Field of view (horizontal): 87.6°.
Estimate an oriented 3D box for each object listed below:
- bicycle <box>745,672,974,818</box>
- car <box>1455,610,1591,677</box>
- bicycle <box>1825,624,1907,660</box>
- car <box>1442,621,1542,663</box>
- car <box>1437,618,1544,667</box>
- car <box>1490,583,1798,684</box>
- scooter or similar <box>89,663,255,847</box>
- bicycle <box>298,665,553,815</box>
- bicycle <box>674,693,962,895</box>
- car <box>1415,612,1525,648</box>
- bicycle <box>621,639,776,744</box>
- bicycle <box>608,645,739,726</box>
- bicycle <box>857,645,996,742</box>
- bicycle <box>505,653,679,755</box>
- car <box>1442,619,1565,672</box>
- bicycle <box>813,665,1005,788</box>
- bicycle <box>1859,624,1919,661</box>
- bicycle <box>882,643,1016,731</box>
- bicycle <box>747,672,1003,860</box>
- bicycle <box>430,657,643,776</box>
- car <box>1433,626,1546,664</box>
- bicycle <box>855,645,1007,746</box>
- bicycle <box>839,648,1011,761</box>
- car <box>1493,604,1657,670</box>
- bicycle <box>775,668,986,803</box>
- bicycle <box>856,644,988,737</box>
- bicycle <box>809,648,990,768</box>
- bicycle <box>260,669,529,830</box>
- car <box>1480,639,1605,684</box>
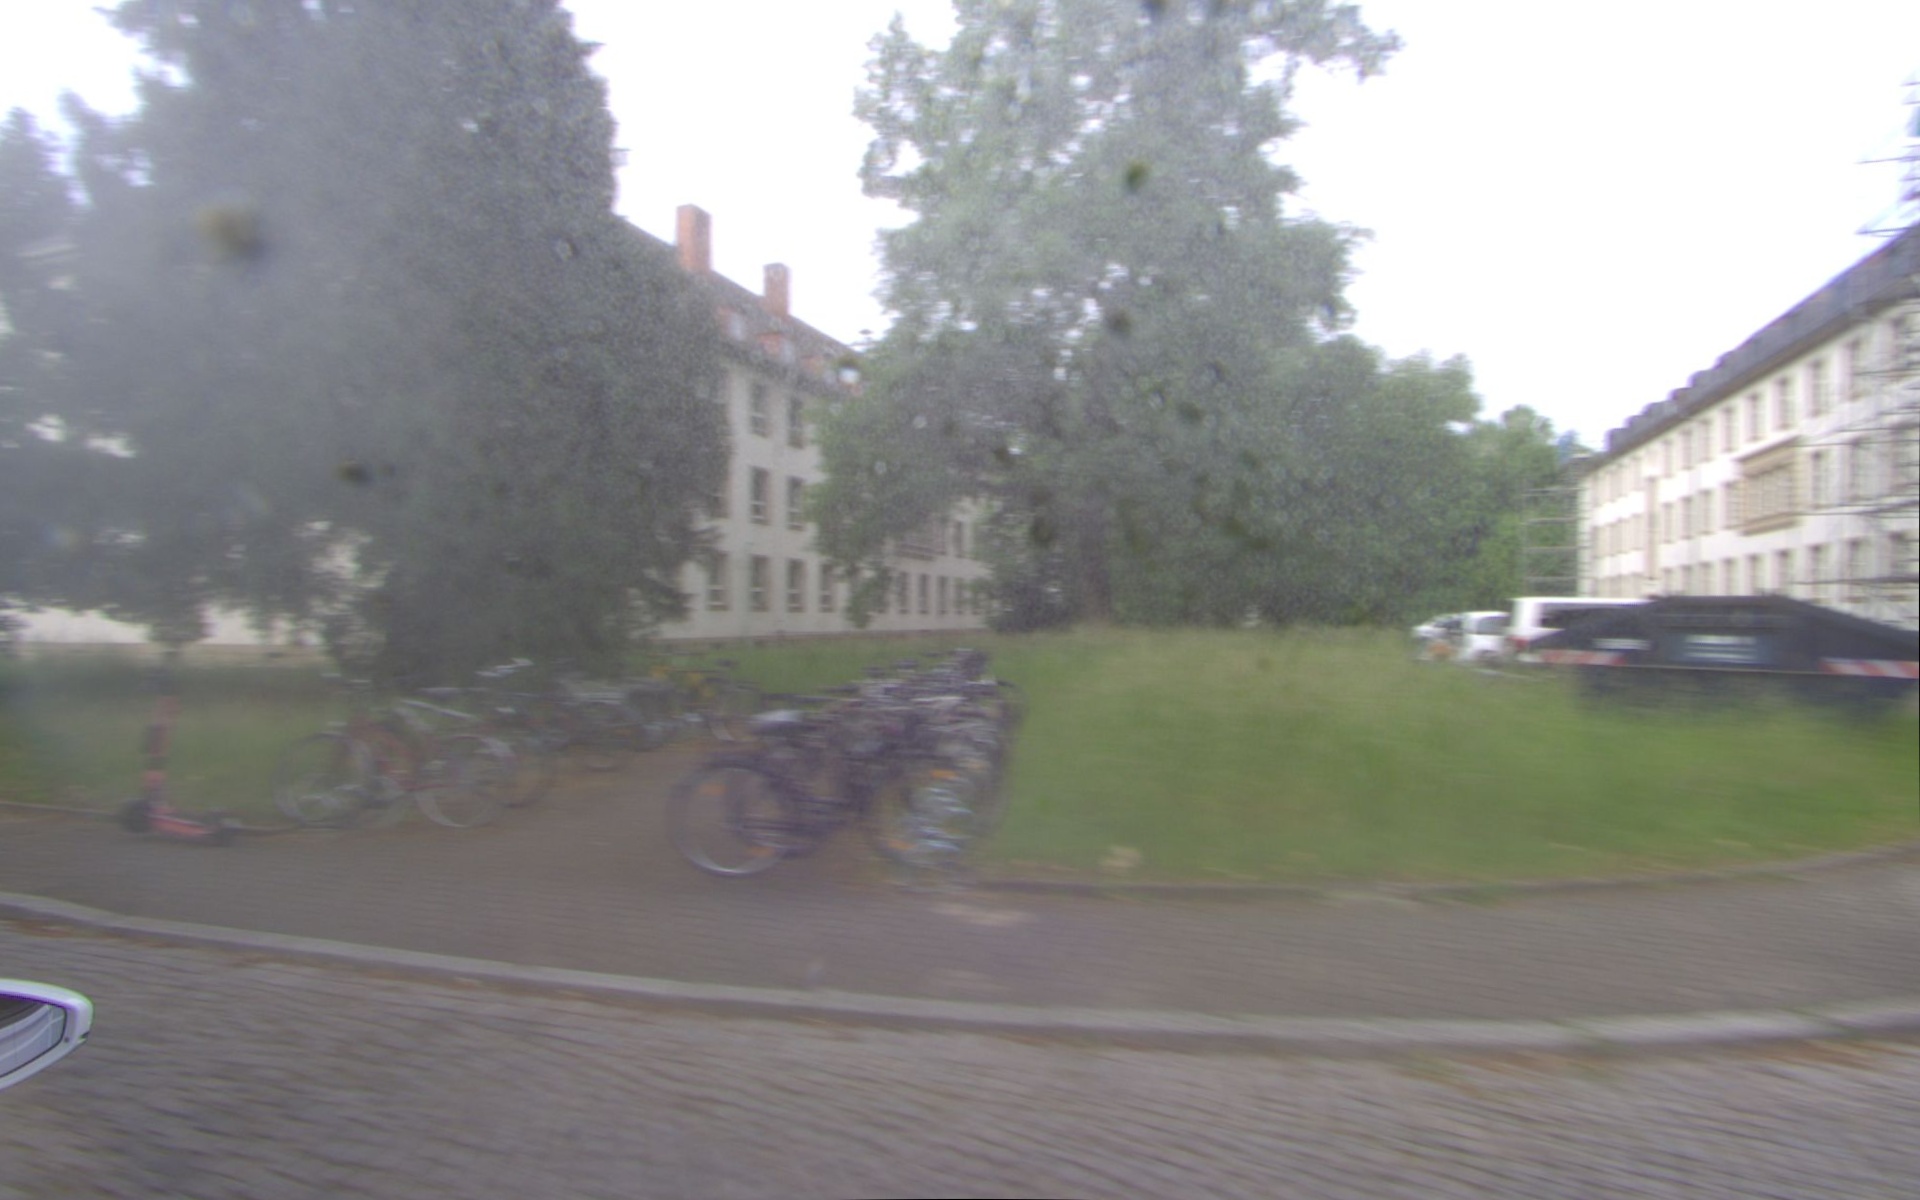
[{"bbox_3d":[-0.737,1.077,7.540,1.635,1.021,0.478,-1,-1,4],"label":"bicycle"},{"bbox_3d":[16.233,1.236,29.039,3.192,1.868,1.601,0,-1,20],"label":"car"},{"bbox_3d":[28.344,1.309,31.357,1.833,1.109,0.509,0,-1,28],"label":"bicycle"},{"bbox_3d":[20.413,1.582,38.533,3.192,1.585,1.382,0,-1,20],"label":"car"},{"bbox_3d":[18.830,1.484,35.667,3.192,1.683,1.437,0,-1,20],"label":"car"},{"bbox_3d":[14.612,0.709,21.808,5.184,2.022,1.965,0,-1,20],"label":"car"},{"bbox_3d":[-5.652,1.081,7.186,1.117,1.225,0.357,0,0,17],"label":"scooter or similar"},{"bbox_3d":[-4.264,1.099,8.040,1.770,1.129,0.551,0,-1,3],"label":"bicycle"},{"bbox_3d":[-0.824,1.101,5.885,1.592,1.021,0.477,-1,-1,-11],"label":"bicycle"},{"bbox_3d":[23.973,1.396,47.264,4.466,1.669,1.466,0,-1,20],"label":"car"},{"bbox_3d":[-3.106,1.065,11.910,1.721,1.186,0.551,0,-1,12],"label":"bicycle"},{"bbox_3d":[-3.923,1.161,13.765,1.650,1.055,0.551,0,-1,6],"label":"bicycle"},{"bbox_3d":[-0.400,1.112,12.125,1.620,1.126,0.442,0,0,10],"label":"bicycle"},{"bbox_3d":[-4.056,1.136,11.110,1.720,1.079,0.551,0,-1,-5],"label":"bicycle"},{"bbox_3d":[16.907,1.402,31.287,3.192,1.585,1.328,0,-1,20],"label":"car"},{"bbox_3d":[-0.440,1.114,8.906,1.635,1.021,0.478,-1,-1,4],"label":"bicycle"},{"bbox_3d":[28.196,1.271,29.982,1.833,1.109,0.509,0,-1,28],"label":"bicycle"},{"bbox_3d":[-0.136,1.134,13.190,1.731,1.126,0.478,0,0,4],"label":"bicycle"},{"bbox_3d":[-0.558,1.046,6.541,1.592,1.088,0.477,-1,-1,-11],"label":"bicycle"},{"bbox_3d":[-4.051,1.102,9.673,1.790,1.079,0.618,0,-1,-5],"label":"bicycle"},{"bbox_3d":[17.739,1.491,33.656,3.192,1.233,1.294,0,-1,20],"label":"car"},{"bbox_3d":[-0.323,1.096,11.673,1.731,1.126,0.478,0,0,4],"label":"bicycle"},{"bbox_3d":[-0.357,1.064,10.361,1.731,1.126,0.478,0,0,-1],"label":"bicycle"},{"bbox_3d":[14.851,0.879,24.329,3.192,1.547,1.309,0,-1,20],"label":"car"},{"bbox_3d":[-0.628,1.093,8.153,1.635,1.021,0.478,-1,-1,4],"label":"bicycle"},{"bbox_3d":[-0.477,1.124,12.678,1.620,1.126,0.442,0,0,10],"label":"bicycle"},{"bbox_3d":[-0.580,1.049,9.874,1.731,1.126,0.478,0,0,4],"label":"bicycle"},{"bbox_3d":[-4.231,1.099,7.545,1.735,1.129,0.551,0,-1,3],"label":"bicycle"},{"bbox_3d":[15.319,1.597,26.446,2.655,1.098,1.309,0,-1,20],"label":"car"}]
